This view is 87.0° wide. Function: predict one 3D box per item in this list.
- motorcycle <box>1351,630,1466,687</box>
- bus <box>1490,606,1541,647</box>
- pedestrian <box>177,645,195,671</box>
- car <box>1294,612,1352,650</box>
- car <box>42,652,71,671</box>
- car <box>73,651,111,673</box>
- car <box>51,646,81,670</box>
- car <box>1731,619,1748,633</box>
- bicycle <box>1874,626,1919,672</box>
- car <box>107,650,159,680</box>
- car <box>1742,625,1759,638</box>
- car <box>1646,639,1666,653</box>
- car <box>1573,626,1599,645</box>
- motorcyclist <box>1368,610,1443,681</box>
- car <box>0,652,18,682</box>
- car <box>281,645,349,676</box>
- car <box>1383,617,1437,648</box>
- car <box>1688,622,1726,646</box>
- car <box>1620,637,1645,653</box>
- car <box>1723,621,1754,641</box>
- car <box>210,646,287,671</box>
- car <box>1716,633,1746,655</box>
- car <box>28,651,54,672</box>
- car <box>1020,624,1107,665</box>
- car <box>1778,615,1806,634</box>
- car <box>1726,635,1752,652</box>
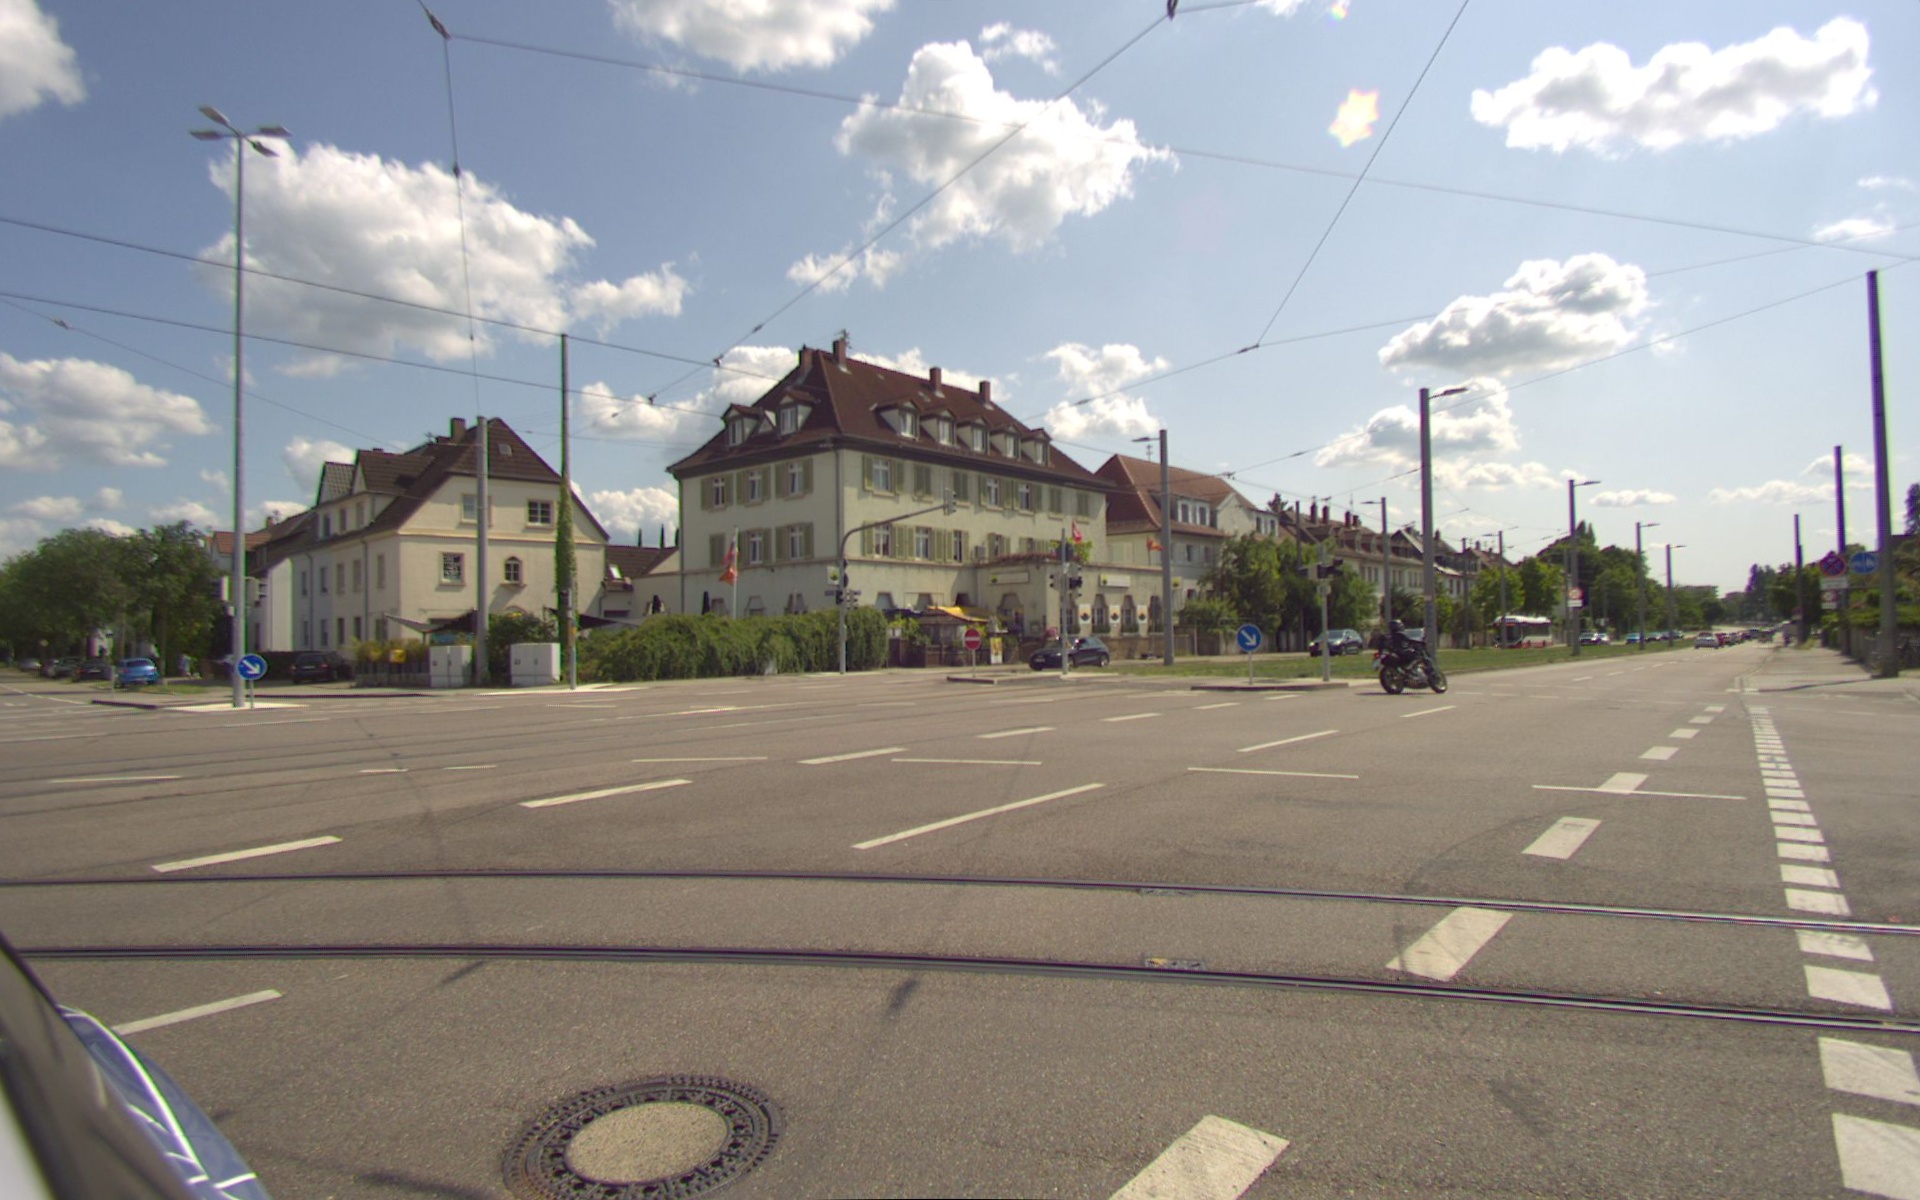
[{"bbox_3d":[9.477,1.218,21.371,2.318,1.136,0.846,0,-2,-23],"label":"motorcycle"},{"bbox_3d":[55.555,2.618,101.045,2.398,3.805,11.867,-2,-2,38],"label":"bus"},{"bbox_3d":[-47.307,3.548,61.842,0.614,1.547,0.627,-2,-2,25],"label":"pedestrian"},{"bbox_3d":[20.263,1.735,56.456,1.903,2.029,3.664,-2,-2,40],"label":"car"},{"bbox_3d":[-70.015,4.749,78.476,1.600,1.436,3.005,0,-2,-41],"label":"car"},{"bbox_3d":[-55.561,3.972,64.747,1.685,1.306,3.921,1,-3,-43],"label":"car"},{"bbox_3d":[-65.669,4.240,74.312,1.540,1.667,3.577,1,-3,-43],"label":"car"},{"bbox_3d":[116.365,3.873,151.131,1.997,2.029,3.949,-2,-2,37],"label":"car"},{"bbox_3d":[28.983,1.450,30.190,2.459,1.366,0.765,-3,-2,45],"label":"bicycle"},{"bbox_3d":[-42.751,3.337,52.307,3.155,1.473,1.686,-3,-3,44],"label":"car"},{"bbox_3d":[128.211,5.101,164.211,1.997,2.029,3.949,-2,-2,37],"label":"car"},{"bbox_3d":[102.387,6.762,148.826,1.998,2.029,3.947,-3,-3,40],"label":"car"},{"bbox_3d":[68.738,3.898,111.087,1.998,2.029,3.948,-2,-2,38],"label":"car"},{"bbox_3d":[9.375,0.967,21.325,1.081,1.409,0.828,-3,-3,-23],"label":"motorcyclist"},{"bbox_3d":[-48.394,3.365,50.621,3.156,1.473,1.686,-3,-3,44],"label":"car"},{"bbox_3d":[-31.226,2.904,49.124,1.732,1.397,4.114,-1,-2,-16],"label":"car"},{"bbox_3d":[30.187,2.150,67.887,3.941,2.029,2.001,1,-3,-45],"label":"car"},{"bbox_3d":[65.439,2.969,88.609,3.941,2.029,2.001,1,-3,-45],"label":"car"},{"bbox_3d":[88.681,5.904,133.425,2.000,2.029,3.943,-3,-3,43],"label":"car"},{"bbox_3d":[82.462,3.271,107.144,3.941,2.029,2.001,1,-3,-45],"label":"car"},{"bbox_3d":[-44.599,3.641,63.508,3.751,1.465,1.712,1,-3,-43],"label":"car"},{"bbox_3d":[75.014,4.252,98.473,1.999,2.029,3.944,-3,-3,42],"label":"car"},{"bbox_3d":[-76.742,5.106,84.509,1.540,1.667,3.254,1,-3,-43],"label":"car"},{"bbox_3d":[4.369,1.830,42.316,1.745,1.596,3.873,-3,-3,39],"label":"car"},{"bbox_3d":[92.316,2.760,112.271,3.941,2.029,2.001,2,-4,-45],"label":"car"},{"bbox_3d":[97.260,5.437,126.401,3.941,2.029,2.001,1,-3,-45],"label":"car"}]
